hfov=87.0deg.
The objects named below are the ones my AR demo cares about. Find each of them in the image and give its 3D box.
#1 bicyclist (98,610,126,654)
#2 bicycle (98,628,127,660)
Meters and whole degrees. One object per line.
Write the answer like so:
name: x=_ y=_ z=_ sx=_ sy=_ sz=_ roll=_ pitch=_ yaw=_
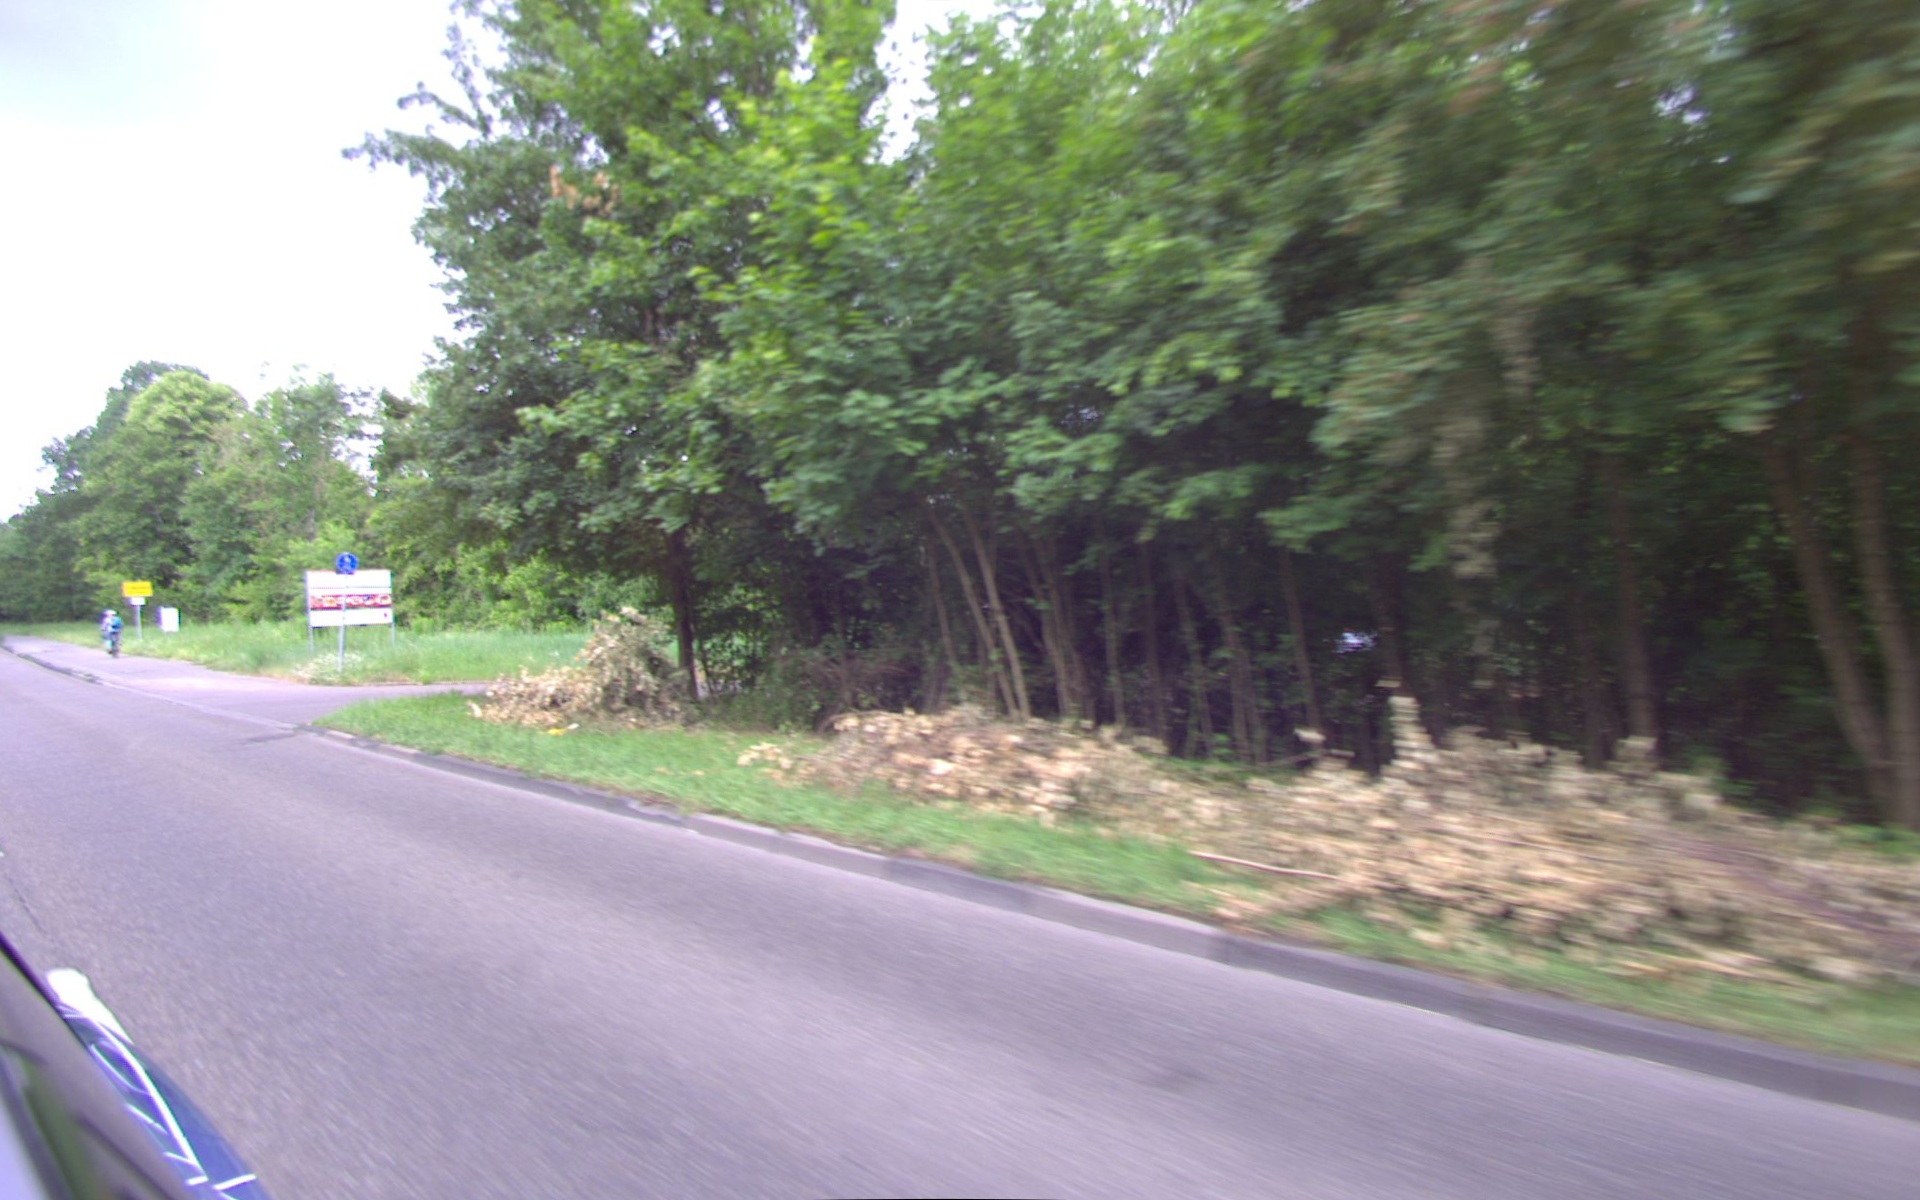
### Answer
bicyclist: x=-30.638 y=1.158 z=36.558 sx=0.657 sy=1.531 sz=1.272 roll=-2 pitch=0 yaw=-43
bicycle: x=-30.627 y=1.574 z=36.556 sx=0.657 sy=1.082 sz=2.148 roll=-2 pitch=0 yaw=-43
